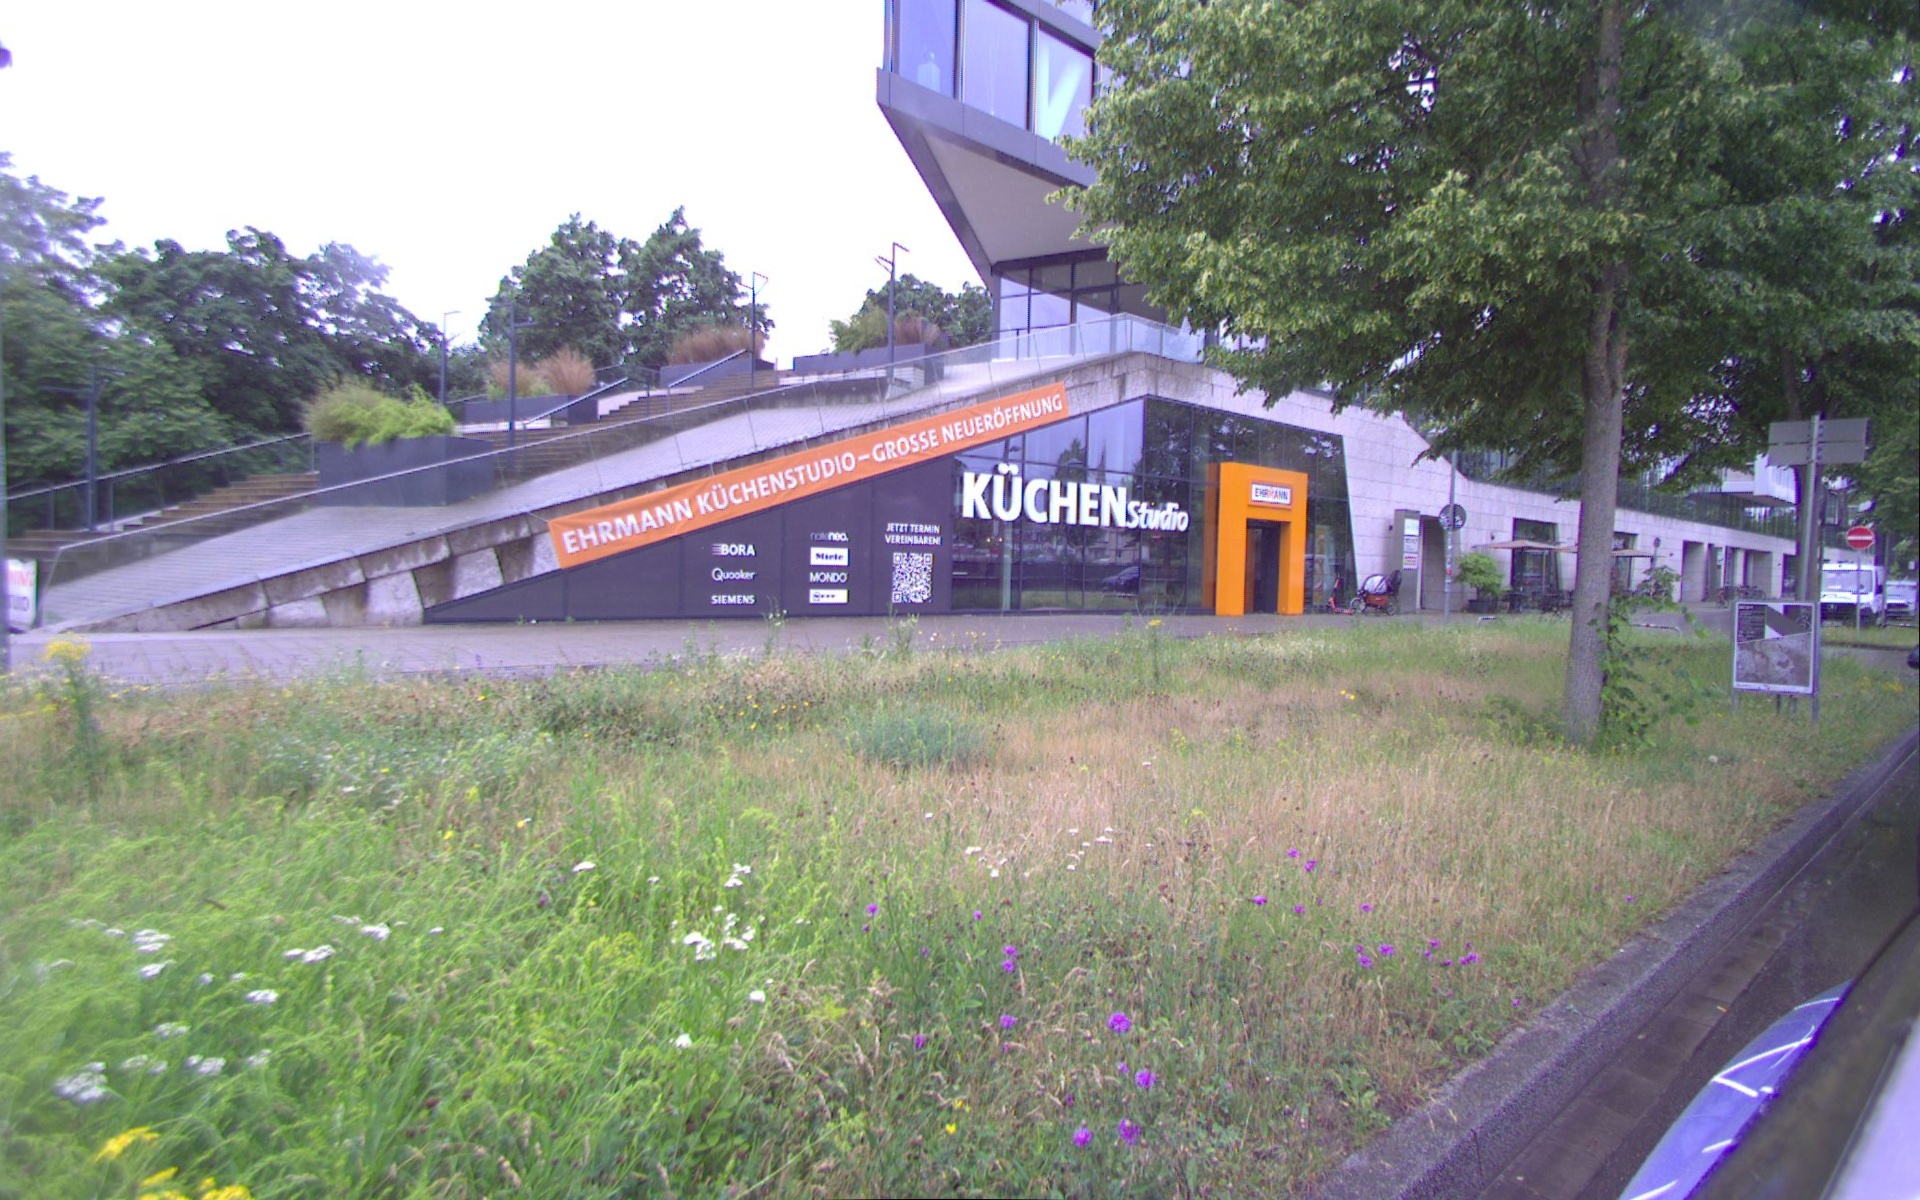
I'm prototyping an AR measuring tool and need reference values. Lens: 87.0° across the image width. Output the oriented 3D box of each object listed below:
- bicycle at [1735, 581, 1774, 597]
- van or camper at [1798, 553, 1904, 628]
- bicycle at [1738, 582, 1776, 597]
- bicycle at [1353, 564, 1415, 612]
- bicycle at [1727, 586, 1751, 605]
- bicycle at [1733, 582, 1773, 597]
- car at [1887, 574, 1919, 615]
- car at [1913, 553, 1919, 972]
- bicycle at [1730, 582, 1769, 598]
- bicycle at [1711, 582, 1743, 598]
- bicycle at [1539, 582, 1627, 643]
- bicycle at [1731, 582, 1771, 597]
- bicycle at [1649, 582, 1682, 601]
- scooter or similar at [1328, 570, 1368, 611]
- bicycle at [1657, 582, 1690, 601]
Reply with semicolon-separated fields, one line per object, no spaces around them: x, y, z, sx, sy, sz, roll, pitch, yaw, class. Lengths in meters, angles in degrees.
53.913;-0.734;68.682;0.389;0.957;2.025;-1;4;-45;bicycle
29.617;-0.365;33.574;5.367;2.320;2.028;-1;2;-42;van or camper
54.777;-0.746;69.558;0.389;0.957;2.025;-1;4;-45;bicycle
13.310;-0.365;31.702;2.382;1.419;0.734;0;3;-41;bicycle
40.647;-0.242;52.815;1.823;0.957;0.403;-1;2;-34;bicycle
53.507;-0.714;68.283;0.389;0.957;2.025;-1;4;-45;bicycle
43.507;-0.276;45.871;4.766;1.781;1.744;-1;2;-42;car
5.799;0.598;4.546;3.930;1.632;1.814;-1;1;-41;car
52.578;-0.700;67.410;0.389;0.957;2.025;-1;4;-45;bicycle
49.451;-0.670;65.243;0.339;0.957;1.665;0;3;-22;bicycle
14.583;0.276;23.744;0.521;1.363;1.852;2;1;-16;bicycle
53.049;-0.709;67.893;0.389;0.957;2.025;-1;4;-45;bicycle
36.618;-0.449;52.568;0.388;0.958;2.028;-1;1;4;bicycle
11.774;-0.295;30.678;1.214;1.243;0.343;-1;0;-22;scooter or similar
37.235;-0.460;52.826;0.388;0.958;2.028;-1;1;4;bicycle
